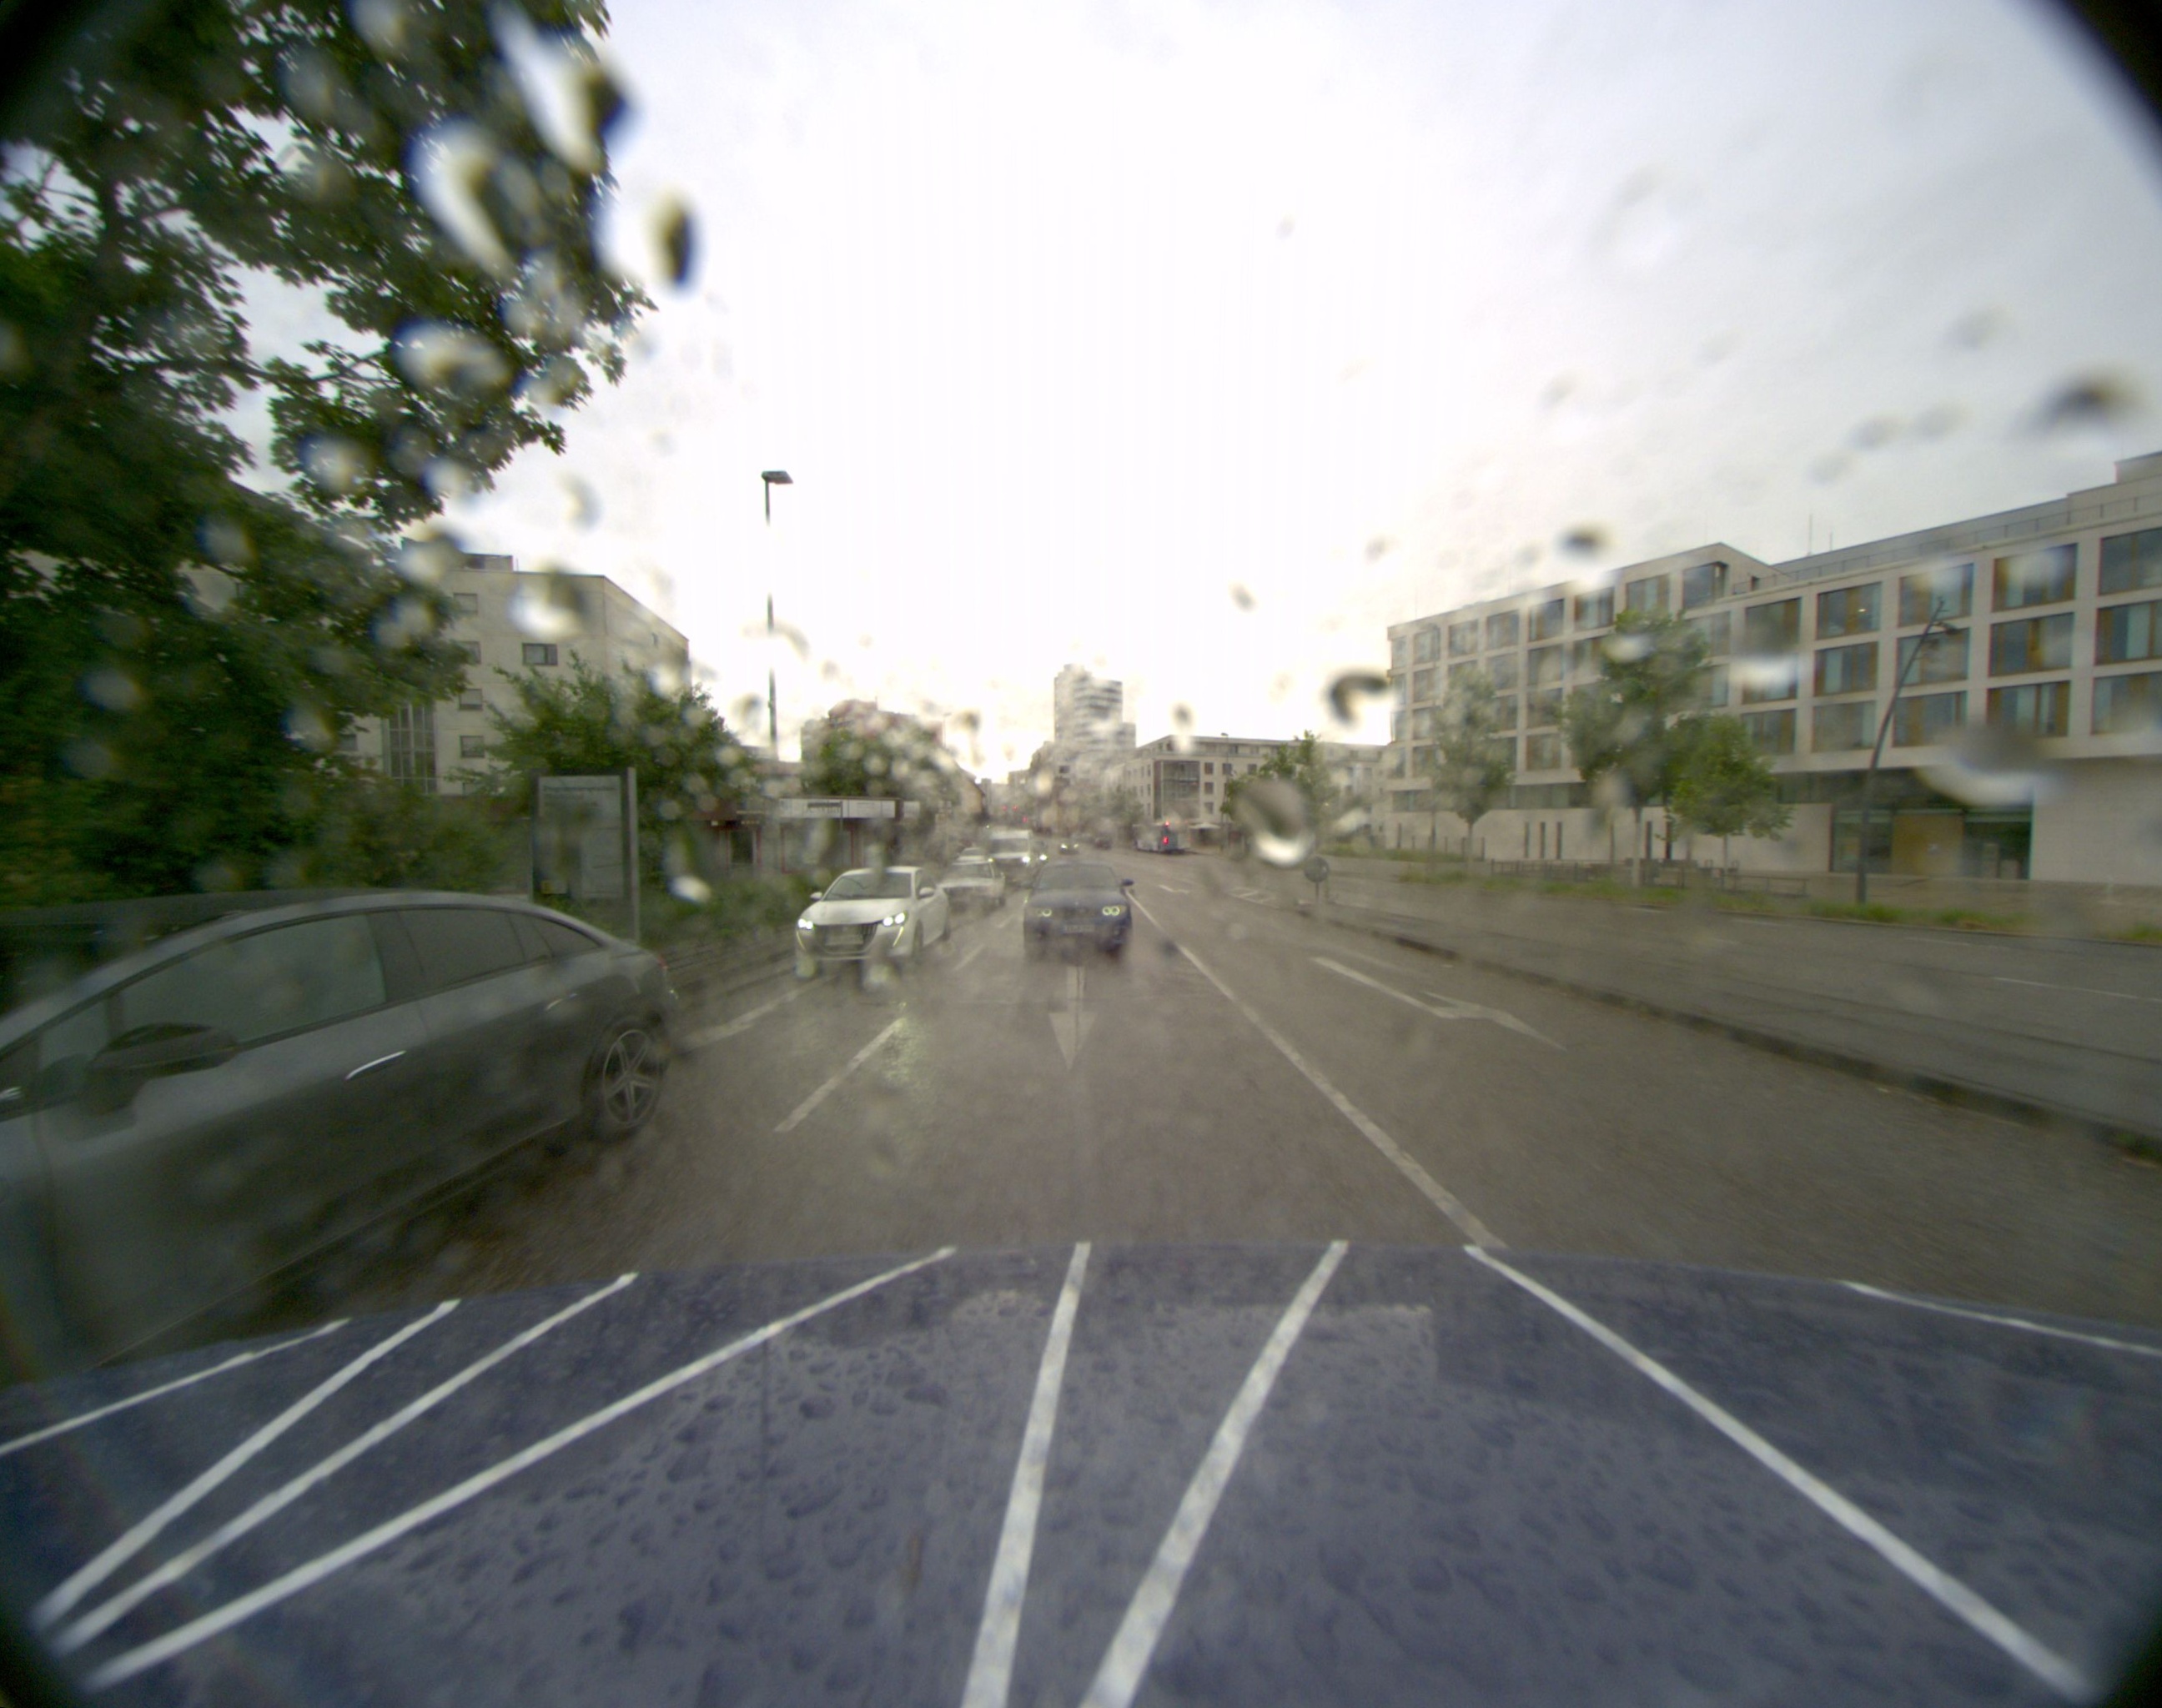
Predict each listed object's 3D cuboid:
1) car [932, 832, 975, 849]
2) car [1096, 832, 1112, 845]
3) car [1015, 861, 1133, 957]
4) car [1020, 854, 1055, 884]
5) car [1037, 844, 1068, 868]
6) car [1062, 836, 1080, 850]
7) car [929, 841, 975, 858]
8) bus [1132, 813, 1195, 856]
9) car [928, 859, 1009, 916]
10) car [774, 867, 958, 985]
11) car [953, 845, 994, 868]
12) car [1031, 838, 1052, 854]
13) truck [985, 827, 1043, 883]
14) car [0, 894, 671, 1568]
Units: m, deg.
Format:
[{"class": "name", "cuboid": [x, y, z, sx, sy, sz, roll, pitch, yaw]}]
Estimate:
[{"class": "car", "cuboid": [-12.180, -1.299, 72.722, 4.000, 1.412, 1.701, -2, 1, -9]}, {"class": "car", "cuboid": [2.805, -1.865, 92.933, 1.818, 1.420, 3.941, -2, 2, 2]}, {"class": "car", "cuboid": [-0.089, 0.869, 13.584, 1.787, 1.335, 3.704, -2, 1, 1]}, {"class": "car", "cuboid": [-2.509, 0.844, 44.321, 1.643, 1.477, 3.676, -6, 1, 1]}, {"class": "car", "cuboid": [-1.930, 0.127, 51.420, 1.999, 1.543, 3.999, -2, 0, -2]}, {"class": "car", "cuboid": [-0.993, -1.170, 79.759, 1.718, 1.369, 3.734, -3, 1, 1]}, {"class": "car", "cuboid": [-11.916, -0.439, 70.277, 4.000, 1.412, 1.998, -2, 1, -9]}, {"class": "bus", "cuboid": [8.397, -1.990, 80.366, 2.952, 3.972, 18.216, 0, 1, -5]}, {"class": "car", "cuboid": [-3.186, 0.915, 22.228, 1.718, 1.369, 3.734, -3, 1, 1]}, {"class": "car", "cuboid": [-3.222, 1.011, 12.254, 1.718, 1.389, 4.035, -3, 1, 1]}, {"class": "car", "cuboid": [-6.781, 0.148, 48.375, 1.998, 1.343, 3.803, 1, 1, 1]}, {"class": "car", "cuboid": [-3.923, -0.794, 76.718, 1.999, 1.543, 3.999, -2, 0, -2]}, {"class": "truck", "cuboid": [-3.135, 0.012, 36.920, 2.169, 2.425, 6.199, -1, 1, 1]}, {"class": "car", "cuboid": [-3.539, 1.032, 2.467, 1.836, 1.436, 4.550, -3, 1, 1]}]
